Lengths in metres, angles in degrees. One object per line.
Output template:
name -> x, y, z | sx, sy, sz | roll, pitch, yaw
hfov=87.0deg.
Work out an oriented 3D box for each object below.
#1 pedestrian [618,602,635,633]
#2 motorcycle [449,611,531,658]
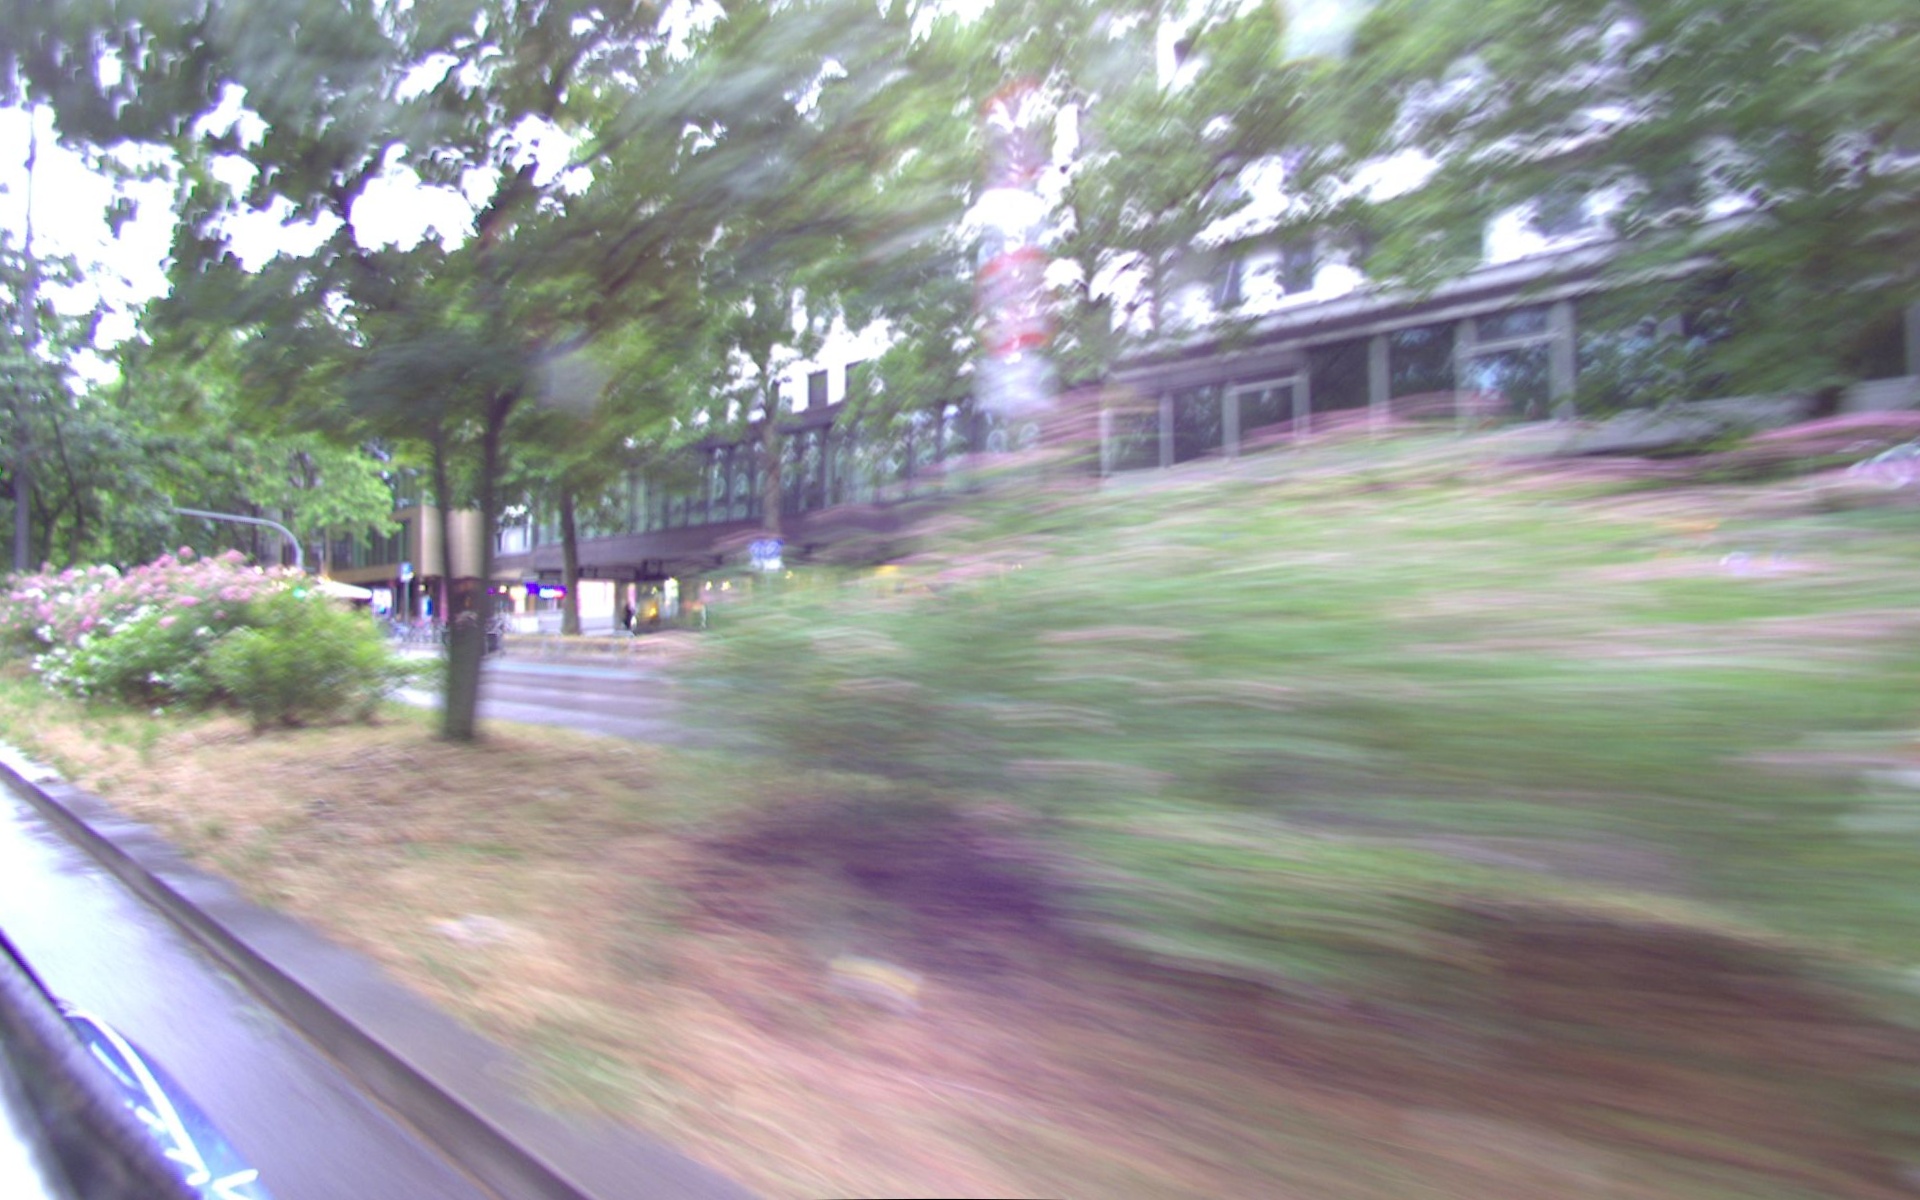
pedestrian -> -15.913, 0.820, 48.323 | 0.559, 1.476, 0.561 | -1, -1, 36
motorcycle -> -15.636, 1.128, 33.744 | 0.894, 1.400, 2.503 | -1, 2, 23
